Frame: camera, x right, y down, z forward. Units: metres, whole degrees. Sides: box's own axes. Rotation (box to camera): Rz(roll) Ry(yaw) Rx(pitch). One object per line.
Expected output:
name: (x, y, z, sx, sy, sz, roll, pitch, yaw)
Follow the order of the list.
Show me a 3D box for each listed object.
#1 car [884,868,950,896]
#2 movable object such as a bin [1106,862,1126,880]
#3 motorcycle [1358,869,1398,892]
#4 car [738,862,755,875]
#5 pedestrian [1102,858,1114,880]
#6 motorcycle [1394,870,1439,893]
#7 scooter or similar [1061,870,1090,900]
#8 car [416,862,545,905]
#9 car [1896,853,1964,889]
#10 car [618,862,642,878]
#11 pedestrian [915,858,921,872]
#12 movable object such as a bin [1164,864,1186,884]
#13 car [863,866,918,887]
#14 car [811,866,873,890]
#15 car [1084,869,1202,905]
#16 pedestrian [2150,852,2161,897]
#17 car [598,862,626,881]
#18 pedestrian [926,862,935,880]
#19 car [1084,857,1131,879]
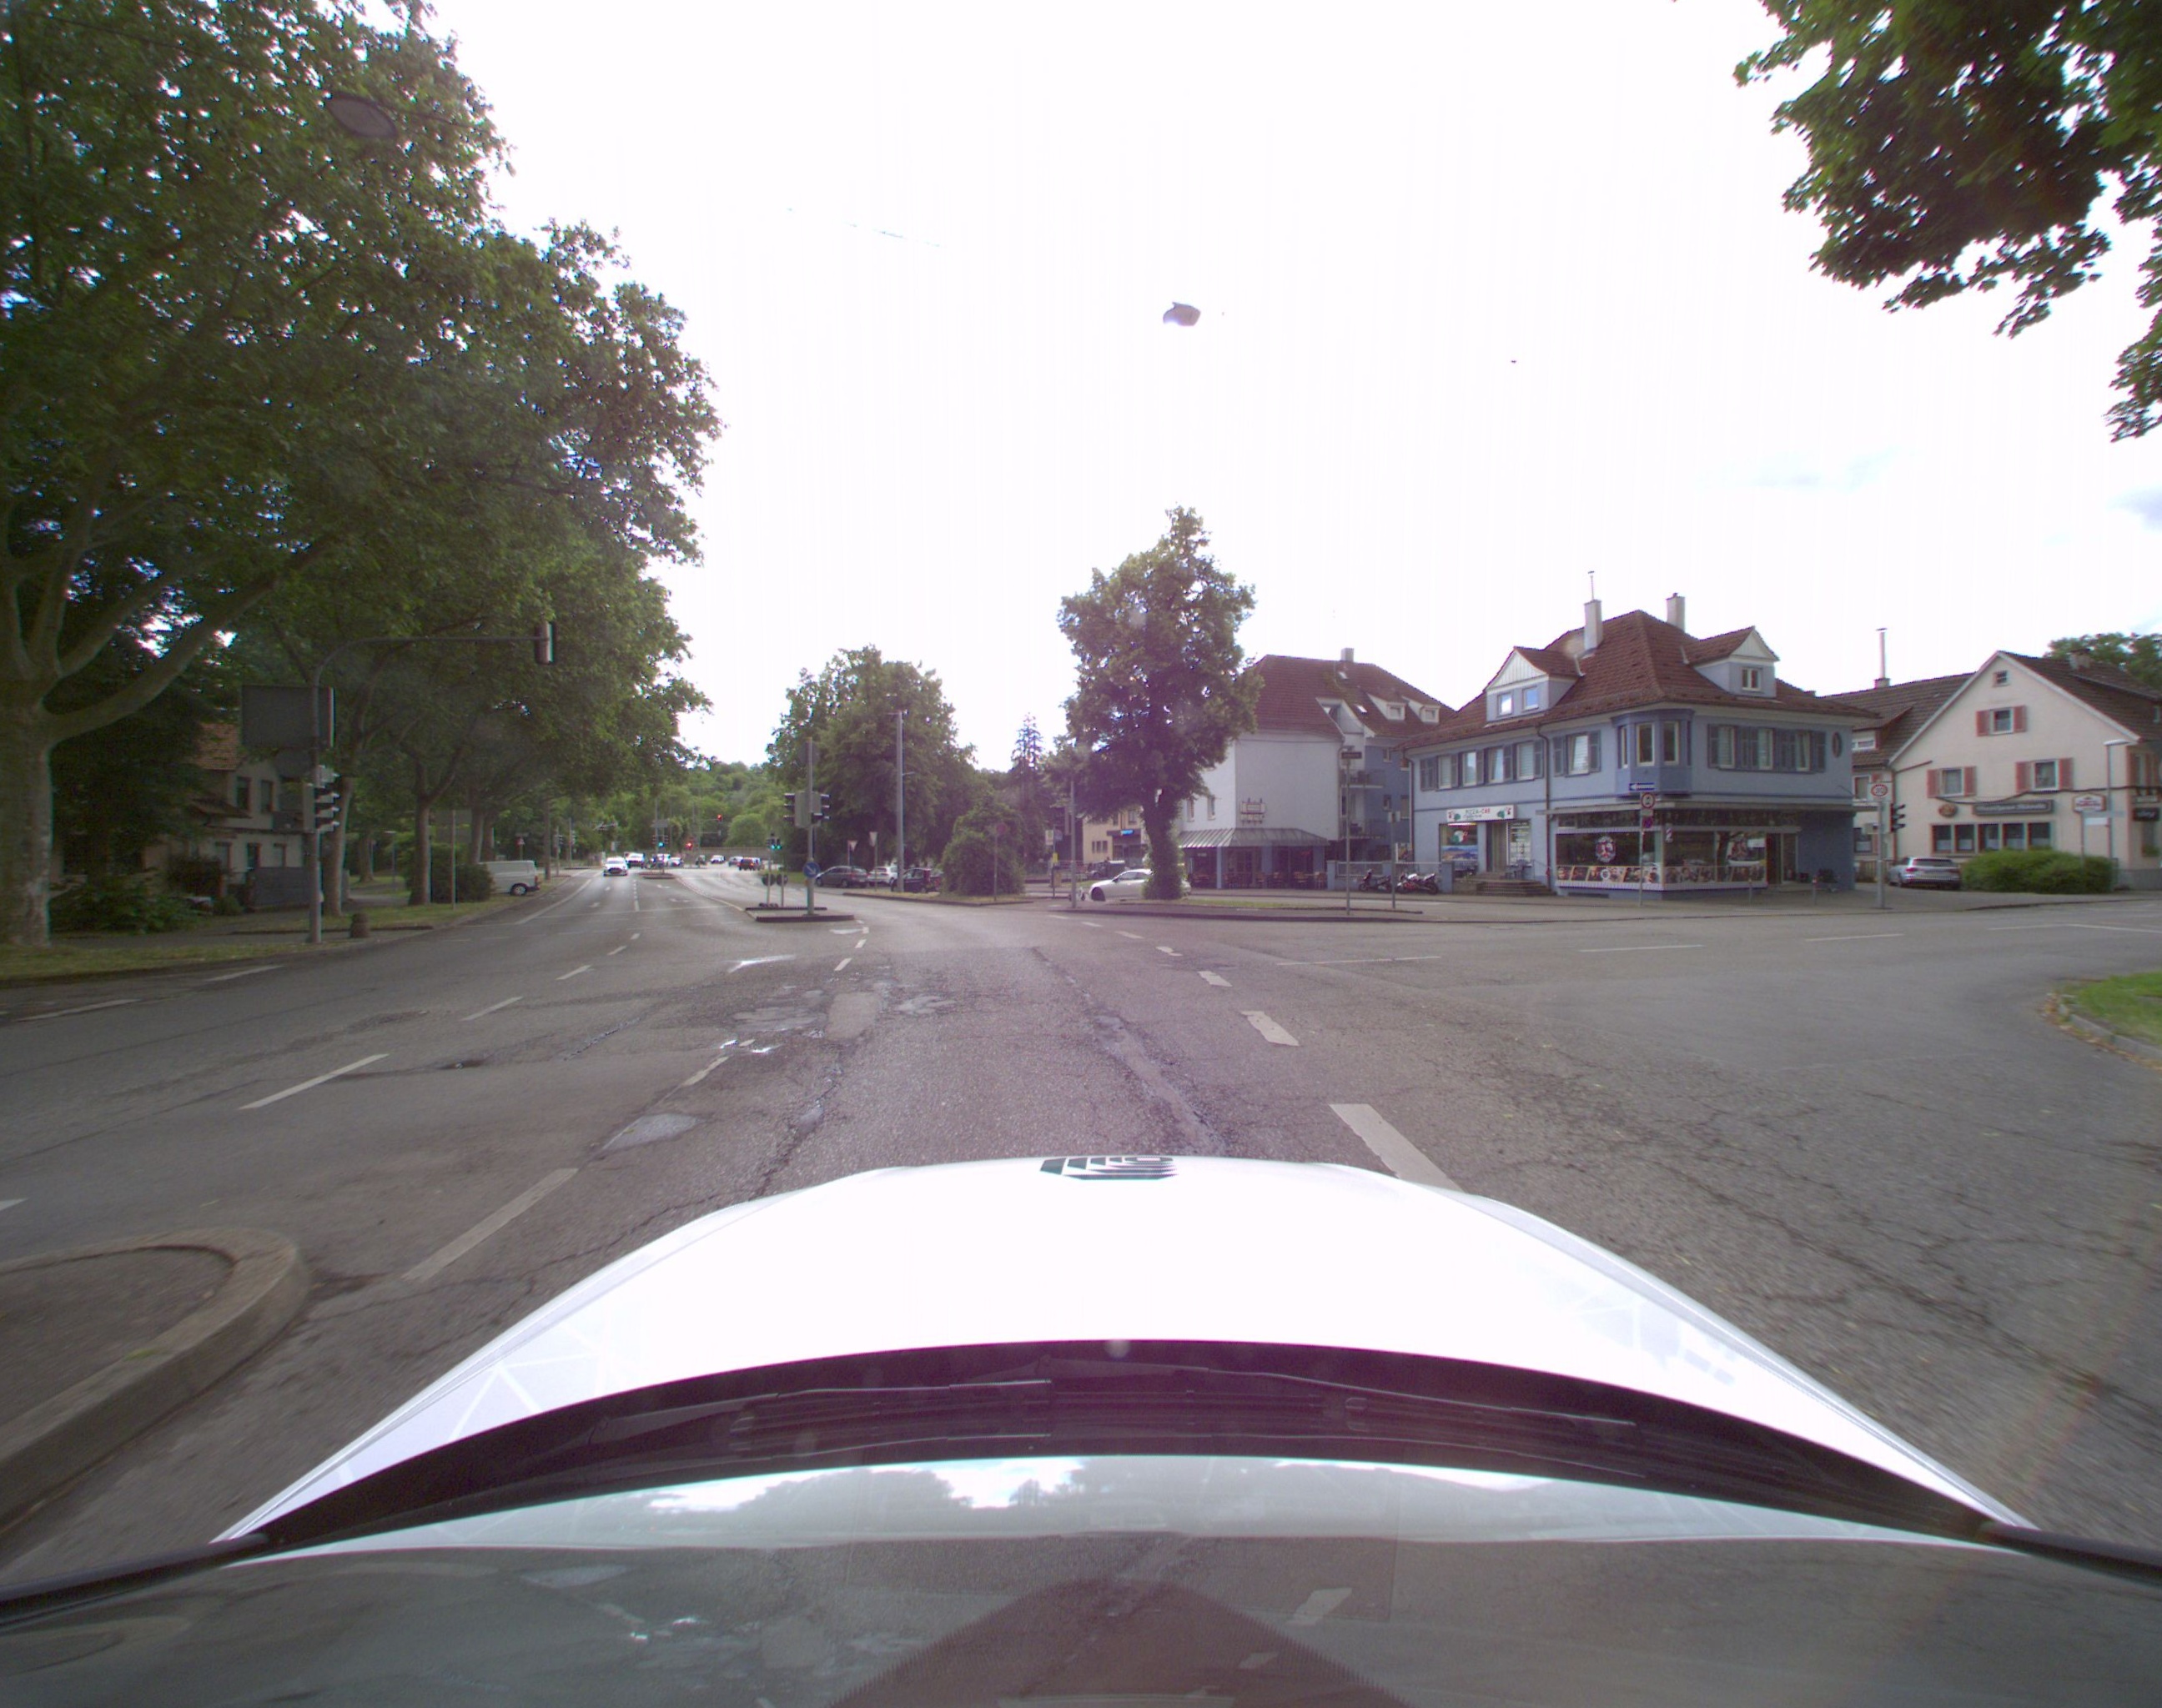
car: (-8.855, 1.465, 43.865, 3.449, 1.404, 1.583, 0, 0, 36)
movable object such as a bin: (2.726, 1.297, 62.966, 1.221, 1.345, 0.987, -1, -1, -23)
motorcycle: (13.600, 1.201, 37.365, 0.492, 1.031, 1.705, 0, -1, -39)
car: (-39.364, 1.717, 95.908, 1.830, 1.509, 4.539, -1, -1, -23)
pedestrian: (2.105, 1.179, 63.936, 0.690, 1.729, 0.606, -1, -1, -24)
motorcycle: (14.582, 1.198, 35.429, 0.524, 0.985, 1.802, 0, -1, -39)
scooter or similar: (-0.197, 1.214, 31.802, 0.407, 1.167, 1.371, -1, -3, 34)
car: (-31.703, 1.493, 43.084, 5.272, 1.931, 2.059, -3, 1, -42)
car: (36.741, 0.711, 35.315, 1.551, 1.462, 3.461, -1, -1, 38)
car: (-49.680, 1.748, 89.787, 1.805, 1.586, 4.381, -3, 2, -24)
pedestrian: (-17.672, 1.216, 88.319, 0.511, 1.531, 0.774, 0, -1, -14)
movable object such as a bin: (6.798, 1.430, 58.797, 1.216, 1.395, 1.156, -1, -1, -14)
car: (-13.503, 1.586, 58.047, 1.744, 1.380, 4.283, 0, 0, 20)
car: (-16.287, 1.611, 55.470, 4.060, 1.429, 1.744, 1, 0, 32)
car: (2.580, 1.358, 34.470, 4.727, 1.386, 2.012, -2, -1, 42)
pedestrian: (40.367, 0.754, 30.165, 0.647, 1.697, 0.752, 0, -1, -21)
car: (-39.435, 1.494, 68.556, 1.772, 1.466, 3.986, -2, 0, -27)
pedestrian: (-13.208, 1.469, 71.435, 0.686, 1.551, 0.737, 0, 0, -24)
car: (2.109, 1.119, 64.903, 3.422, 1.630, 1.615, -1, -1, -17)
